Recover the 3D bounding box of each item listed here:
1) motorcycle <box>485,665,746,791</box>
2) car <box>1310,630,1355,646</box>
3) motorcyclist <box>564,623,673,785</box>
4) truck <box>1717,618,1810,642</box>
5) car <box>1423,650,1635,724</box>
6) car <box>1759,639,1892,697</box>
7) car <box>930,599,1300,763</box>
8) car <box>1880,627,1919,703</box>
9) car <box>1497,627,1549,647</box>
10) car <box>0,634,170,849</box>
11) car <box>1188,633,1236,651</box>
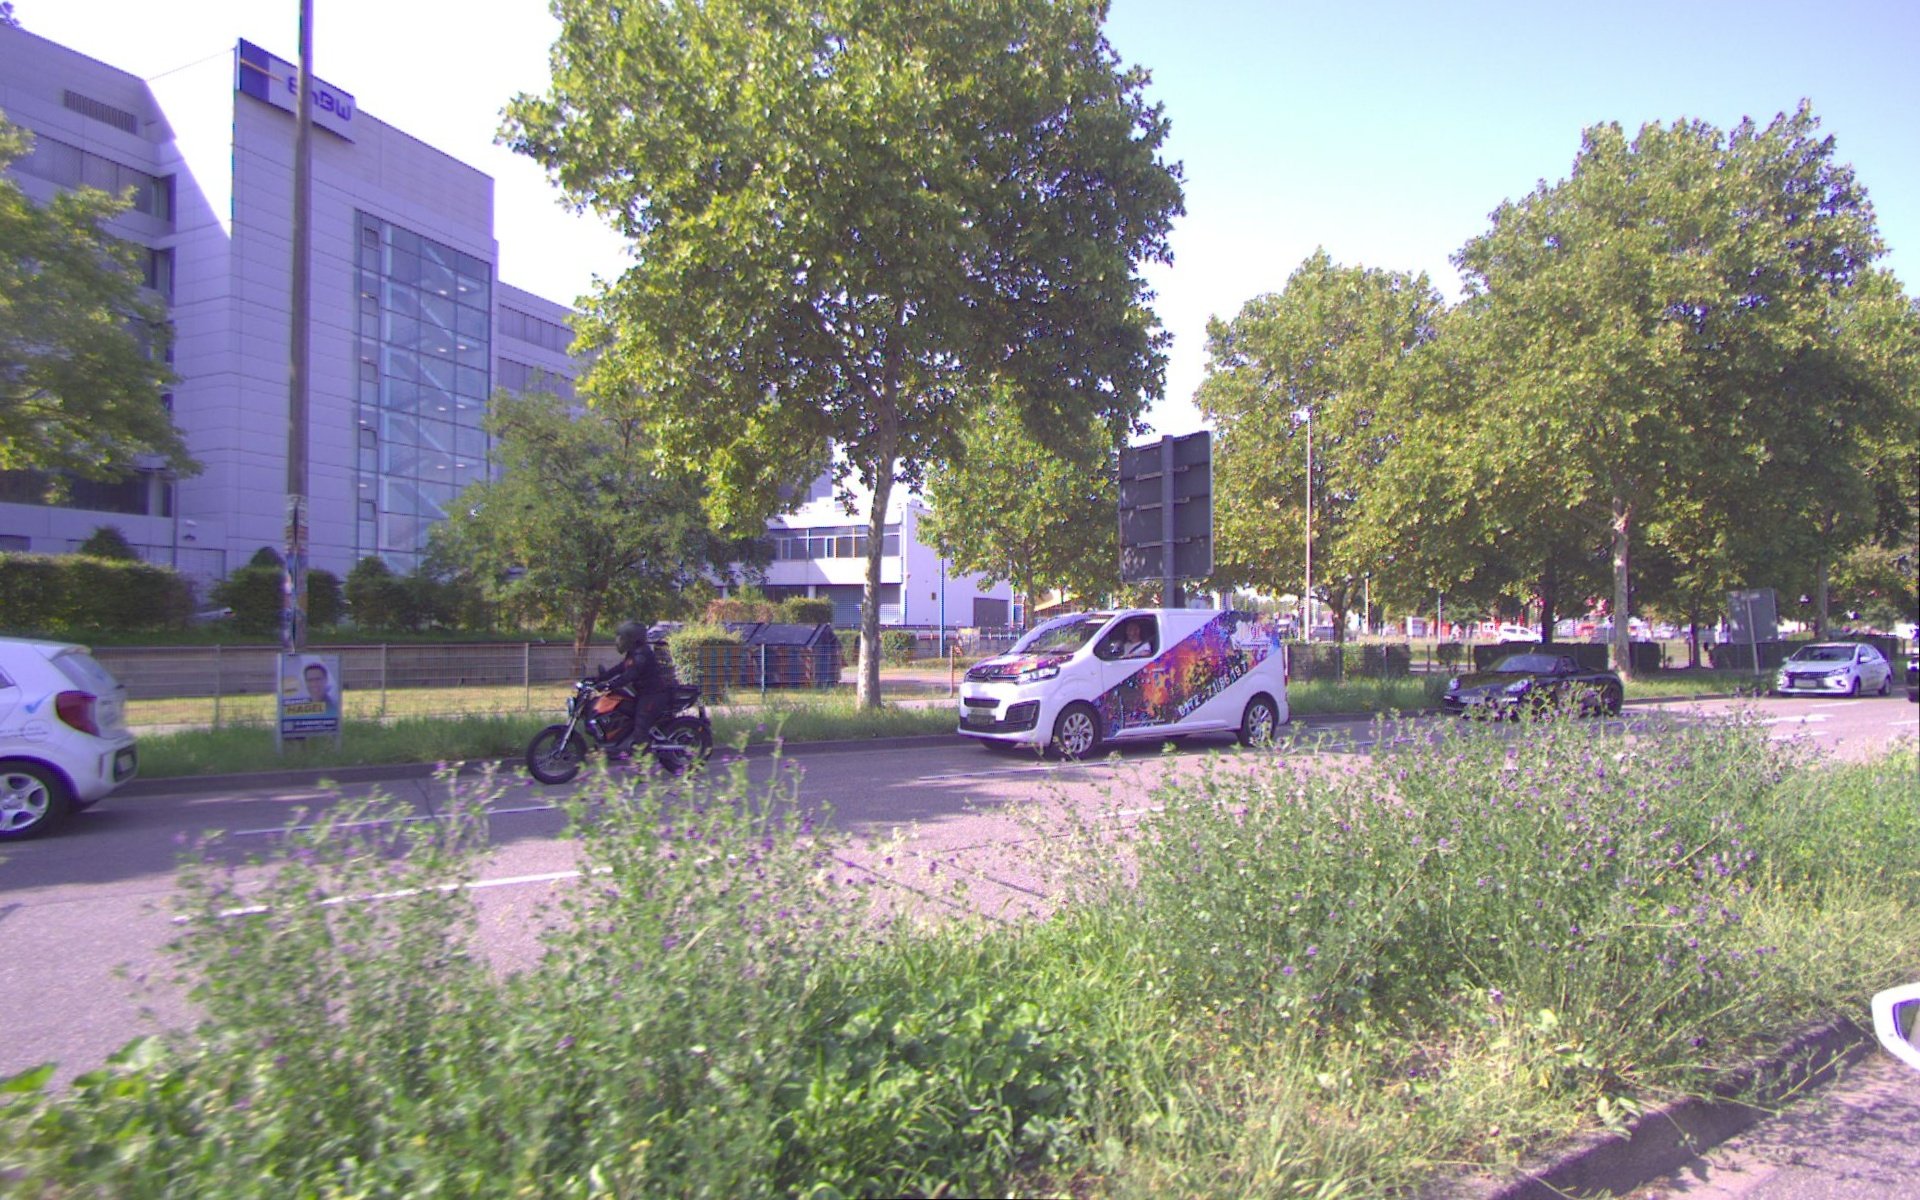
[{"bbox_3d":[-3.523,1.264,10.392,2.439,1.122,0.791,2,-1,-31],"label":"motorcycle"},{"bbox_3d":[35.879,3.666,96.758,3.923,1.565,1.839,-1,-2,23],"label":"car"},{"bbox_3d":[-3.534,1.033,10.389,0.912,1.574,0.774,1,-1,-31],"label":"motorcyclist"},{"bbox_3d":[105.237,3.936,131.766,8.841,2.996,3.513,-1,-2,23],"label":"truck"},{"bbox_3d":[11.077,1.627,19.509,4.047,1.279,1.783,1,-3,-30],"label":"car"},{"bbox_3d":[23.954,1.833,27.763,3.958,1.501,1.780,2,-2,-33],"label":"car"},{"bbox_3d":[2.201,1.049,13.744,4.914,1.882,1.974,2,-4,-32],"label":"car"},{"bbox_3d":[24.627,1.561,24.563,4.427,1.782,1.984,2,-4,-32],"label":"car"},{"bbox_3d":[50.966,3.317,91.031,3.922,1.701,1.870,0,-1,22],"label":"car"},{"bbox_3d":[-8.187,0.999,7.141,3.787,1.498,1.738,2,-3,-31],"label":"car"},{"bbox_3d":[25.376,4.213,101.082,4.499,1.565,1.870,1,0,20],"label":"car"}]
